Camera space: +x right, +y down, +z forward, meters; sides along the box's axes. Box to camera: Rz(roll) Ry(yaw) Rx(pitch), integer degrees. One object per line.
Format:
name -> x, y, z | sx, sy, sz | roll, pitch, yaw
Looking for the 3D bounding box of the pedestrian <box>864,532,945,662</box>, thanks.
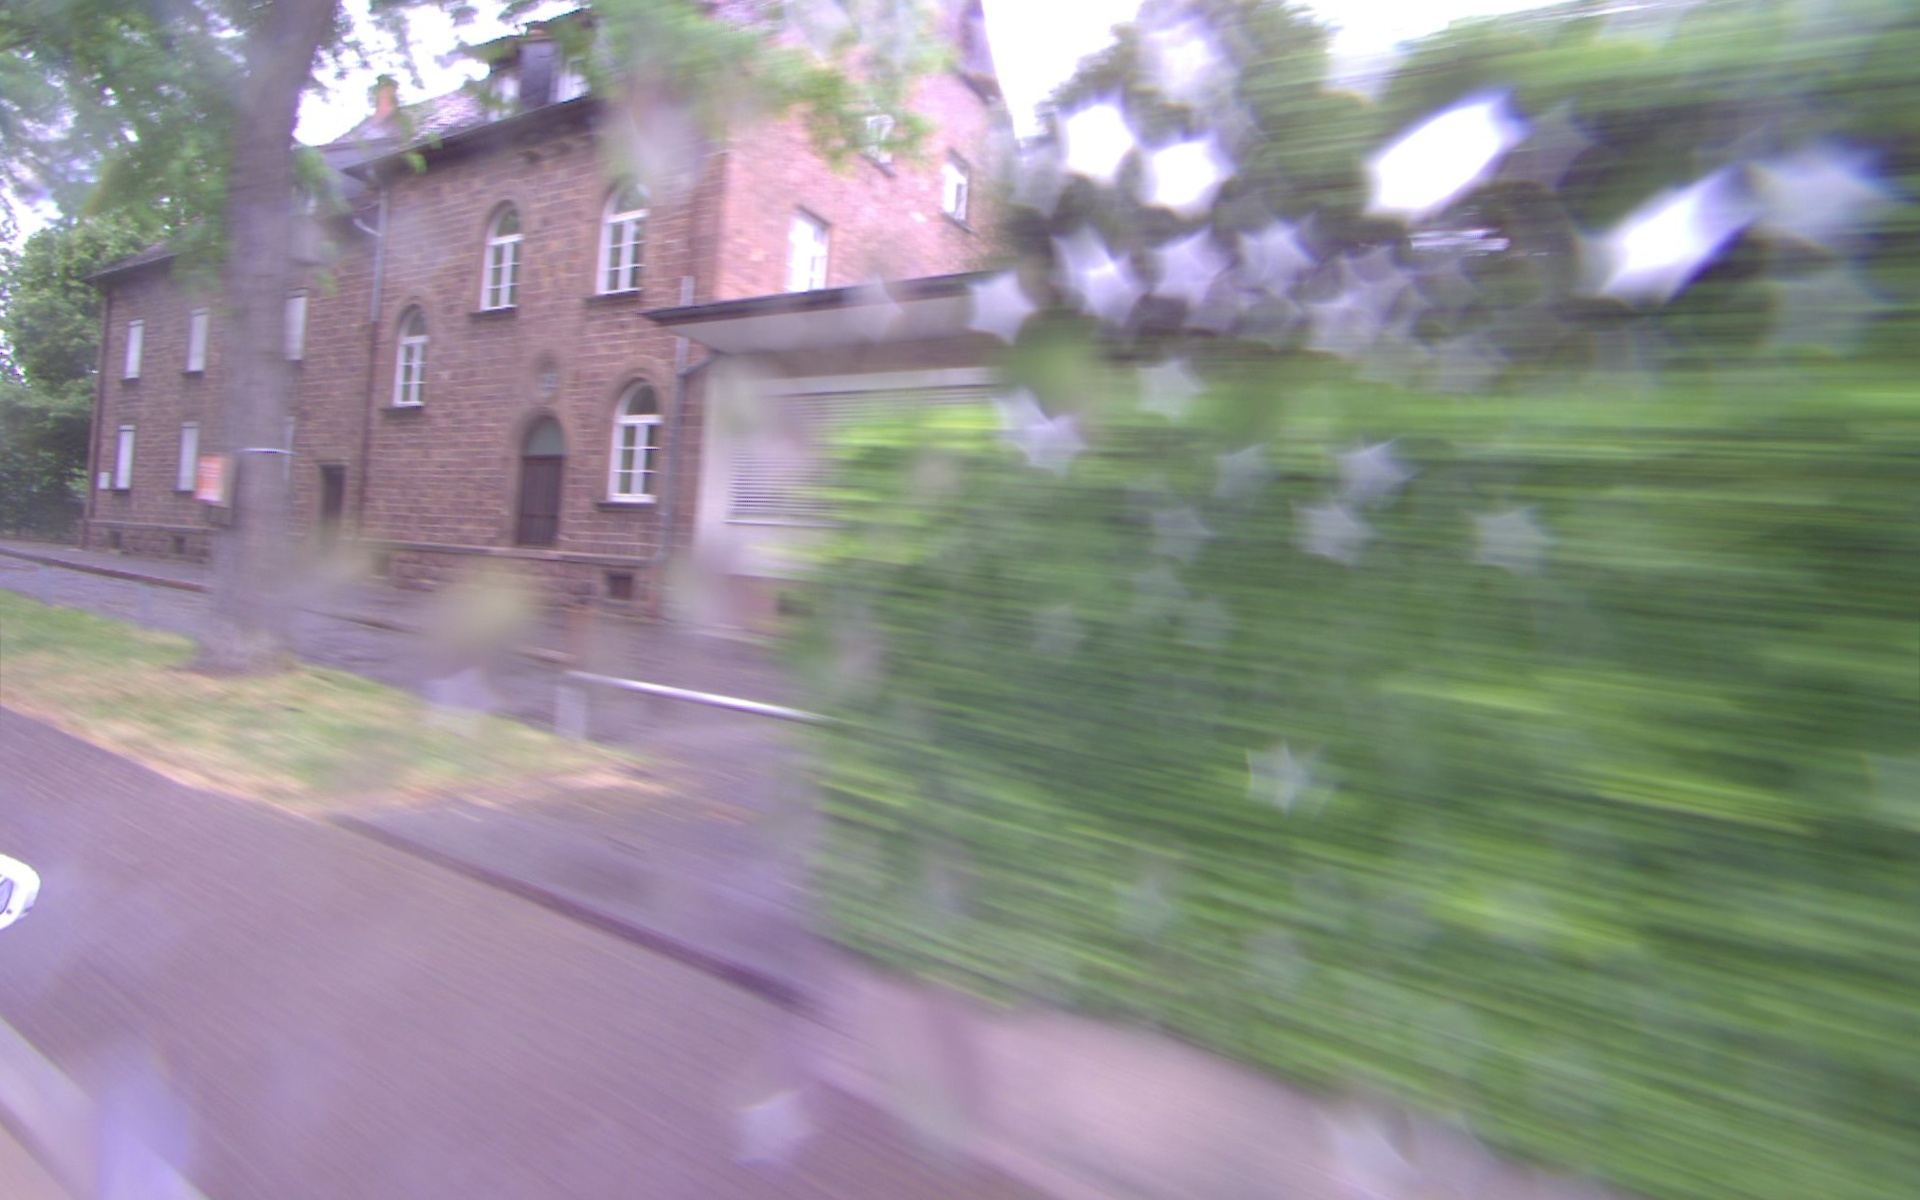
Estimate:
pedestrian -> -0.803, -0.044, 14.570 | 0.852, 1.777, 0.535 | 7, 2, 31
